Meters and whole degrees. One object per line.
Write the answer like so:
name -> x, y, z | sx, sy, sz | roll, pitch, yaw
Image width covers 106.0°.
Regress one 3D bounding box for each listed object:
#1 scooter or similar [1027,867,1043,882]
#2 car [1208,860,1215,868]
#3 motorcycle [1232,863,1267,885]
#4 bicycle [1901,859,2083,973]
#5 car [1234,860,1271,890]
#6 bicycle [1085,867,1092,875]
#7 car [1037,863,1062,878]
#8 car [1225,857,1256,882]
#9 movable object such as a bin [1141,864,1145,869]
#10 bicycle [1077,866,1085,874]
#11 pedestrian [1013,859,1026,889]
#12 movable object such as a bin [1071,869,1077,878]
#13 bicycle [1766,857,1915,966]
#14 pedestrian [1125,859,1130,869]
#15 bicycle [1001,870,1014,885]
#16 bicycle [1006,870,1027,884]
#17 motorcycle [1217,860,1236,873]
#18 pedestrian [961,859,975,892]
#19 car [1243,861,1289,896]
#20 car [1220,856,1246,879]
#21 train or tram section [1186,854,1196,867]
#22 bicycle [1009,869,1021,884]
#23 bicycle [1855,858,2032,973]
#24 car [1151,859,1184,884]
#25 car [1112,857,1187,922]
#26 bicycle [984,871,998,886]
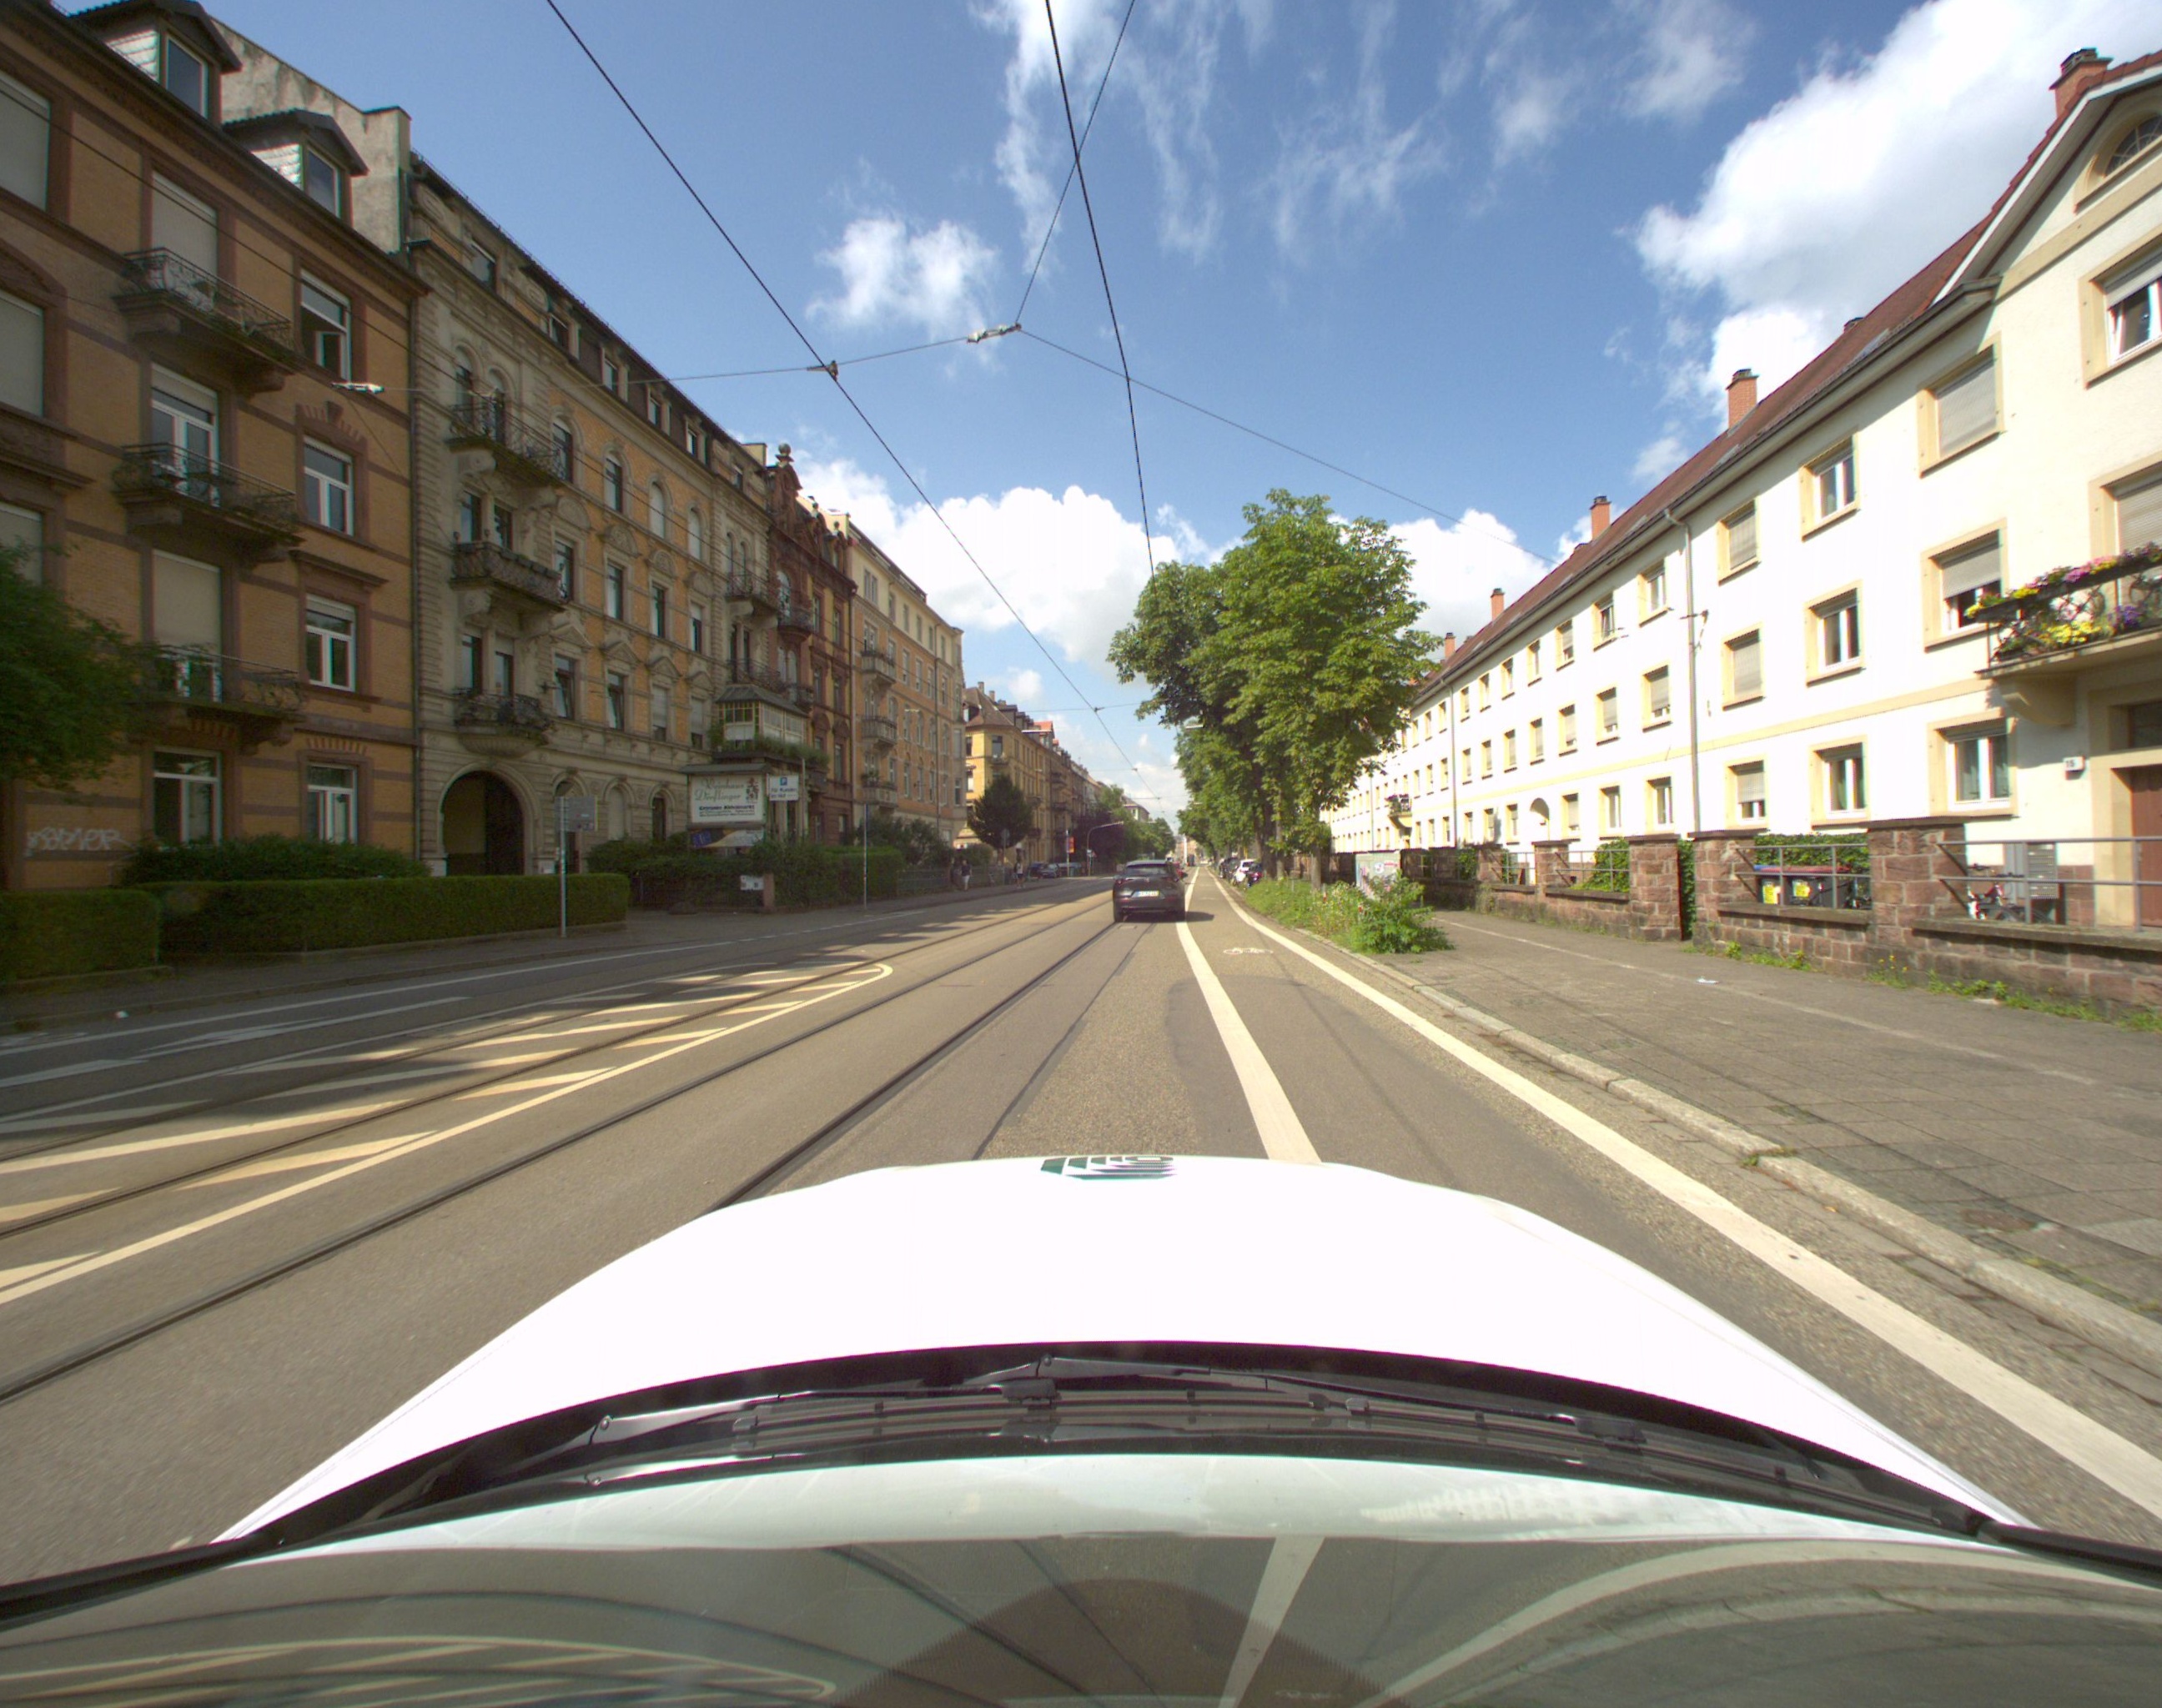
scooter or similar -> -3.869, 1.706, 68.454 | 1.366, 1.235, 0.401 | 0, -1, -21
car -> 32.036, 2.473, 199.520 | 1.710, 1.968, 4.217 | -1, -1, 9
motorcycle -> 10.417, 1.245, 50.326 | 1.997, 1.337, 0.748 | -1, -1, 4
bicycle -> 10.392, 0.660, 9.367 | 0.502, 1.201, 1.493 | -1, -1, 5
car -> 9.593, 1.146, 45.796 | 1.732, 1.581, 4.257 | -1, -1, 8
bicycle -> 0.886, 1.963, 93.459 | 0.527, 0.946, 1.972 | -1, -1, 8
car -> -3.232, 1.691, 83.440 | 1.676, 1.459, 4.775 | -2, -1, 8
car -> 11.146, 1.071, 56.974 | 1.852, 1.653, 4.648 | -1, -1, 8
movable object such as a bin -> 13.285, 2.599, 173.587 | 0.741, 0.988, 1.117 | 1, -1, 8
bicycle -> 0.002, 1.751, 89.496 | 0.527, 0.946, 1.972 | -1, -1, 8
pedestrian -> -3.724, 1.190, 49.410 | 0.530, 1.760, 1.108 | 1, -1, 8
movable object such as a bin -> -0.774, 2.029, 85.418 | 0.522, 0.906, 0.637 | -2, -1, 7
bicycle -> 8.991, 0.637, 9.715 | 0.502, 1.201, 1.494 | -1, -1, 7
pedestrian -> 8.136, 1.805, 143.924 | 0.818, 1.706, 0.893 | -1, -1, 5
bicycle -> -5.012, 1.590, 55.413 | 0.419, 0.976, 1.953 | -1, -1, 8
bicycle -> -4.720, 1.655, 59.751 | 1.444, 0.977, 0.405 | -1, -1, 8
motorcycle -> 18.122, 1.502, 101.514 | 0.682, 1.597, 2.358 | 0, 0, -43
pedestrian -> -6.057, 1.144, 43.710 | 0.485, 1.703, 1.153 | -1, -1, 6
car -> 8.387, 1.075, 37.269 | 1.651, 1.521, 4.297 | -1, -1, 8
car -> 12.381, 1.043, 66.570 | 1.817, 1.782, 4.744 | -1, 0, 8
train or tram section -> 32.799, 1.972, 243.515 | 2.558, 3.772, 13.048 | -1, 0, 6
bicycle -> -4.667, 1.587, 57.699 | 0.419, 0.976, 1.953 | -1, -1, 8
bicycle -> 9.683, 0.646, 9.224 | 0.502, 1.201, 1.493 | -1, -1, 5
car -> 5.837, 1.154, 54.627 | 1.982, 1.529, 4.009 | 1, -1, 8
car -> 1.868, 0.880, 21.263 | 1.711, 1.526, 3.597 | -1, -1, 8
bicycle -> -5.616, 1.525, 51.011 | 0.419, 0.932, 1.953 | -1, -1, 8
